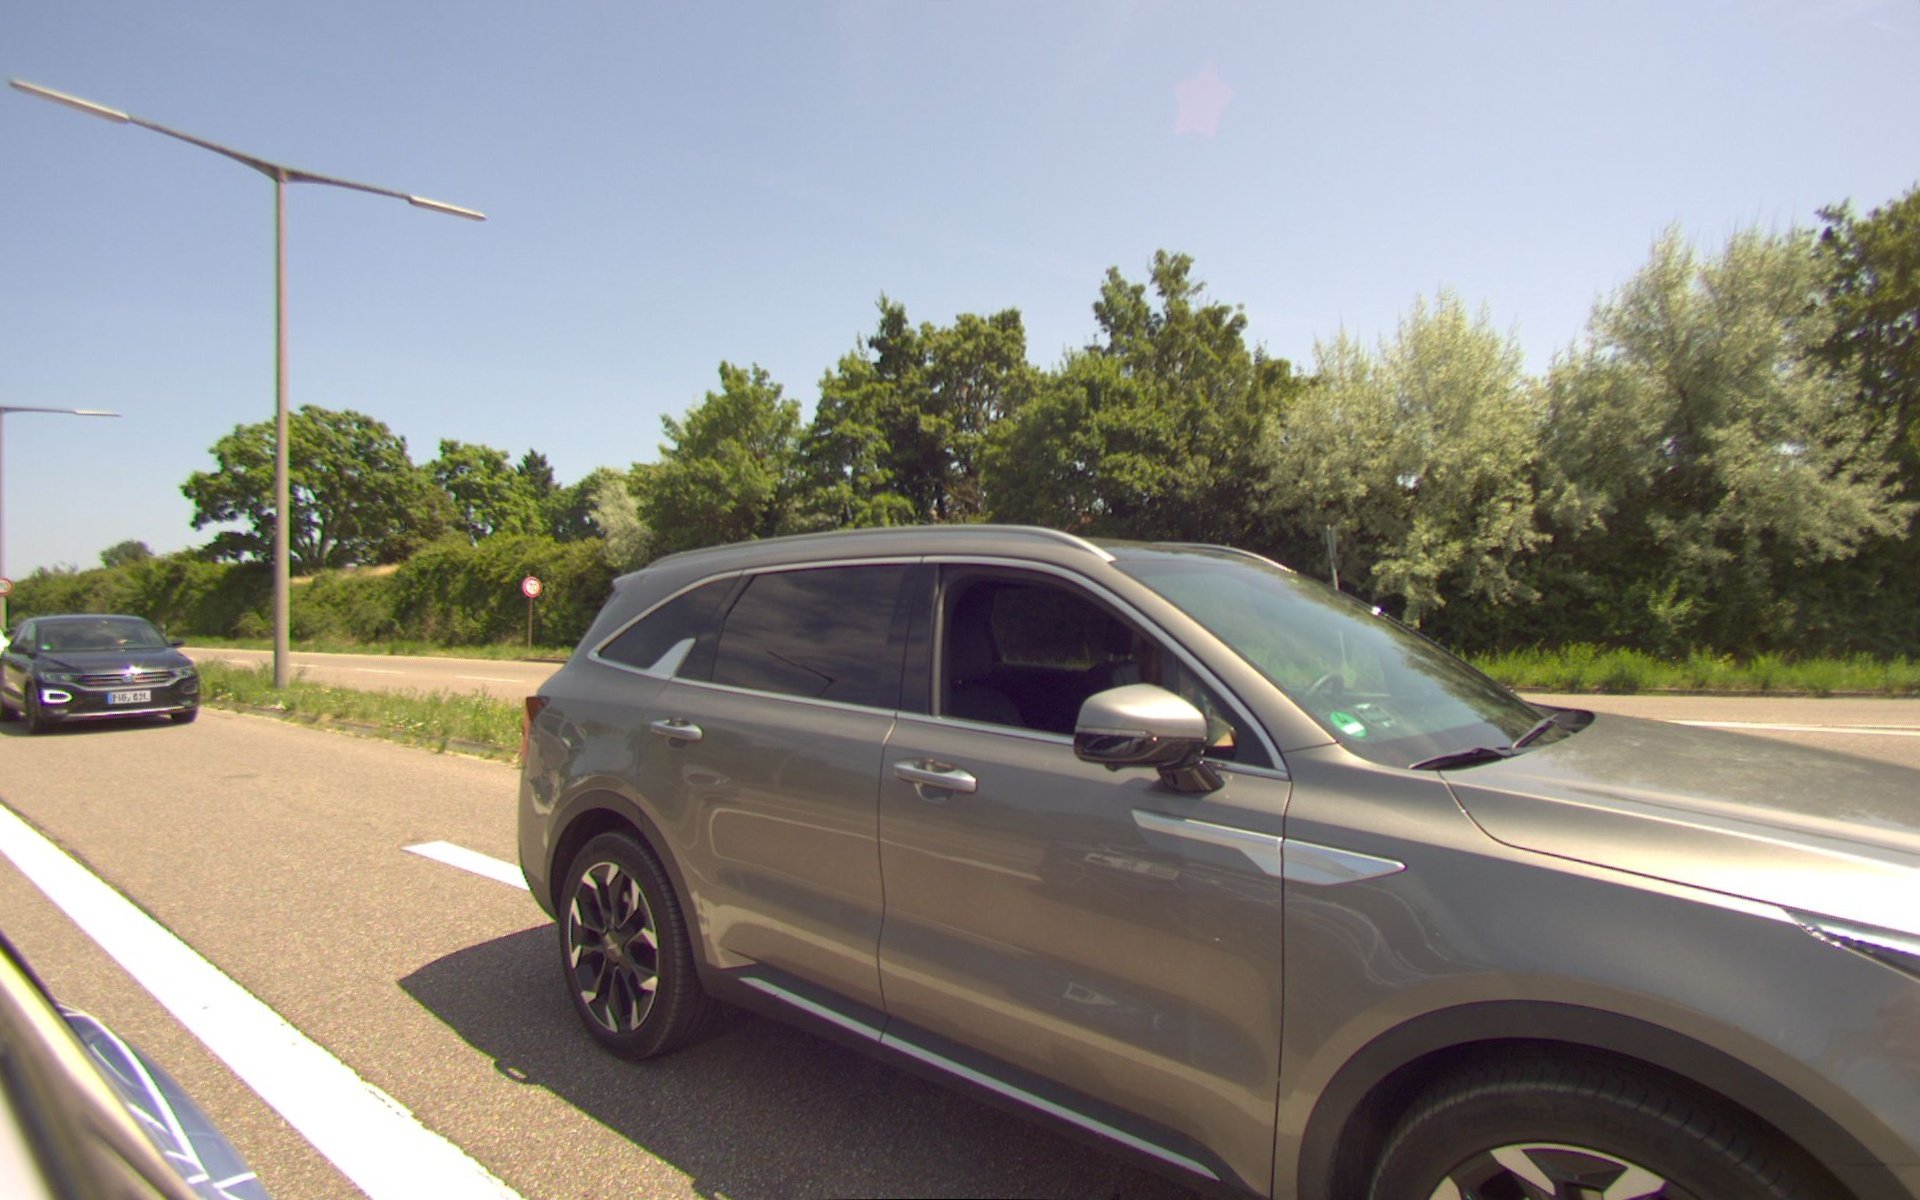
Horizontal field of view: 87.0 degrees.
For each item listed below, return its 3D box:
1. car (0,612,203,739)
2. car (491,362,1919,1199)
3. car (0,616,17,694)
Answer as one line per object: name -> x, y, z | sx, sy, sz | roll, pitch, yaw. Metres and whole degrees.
car -> -12.272, 0.970, 14.257 | 3.997, 1.511, 1.731 | -2, -1, 40
car -> 0.541, 0.582, 2.982 | 4.528, 1.681, 1.762 | -2, -2, 40
car -> -22.779, 1.194, 22.676 | 3.998, 1.684, 1.897 | -1, -1, 40
